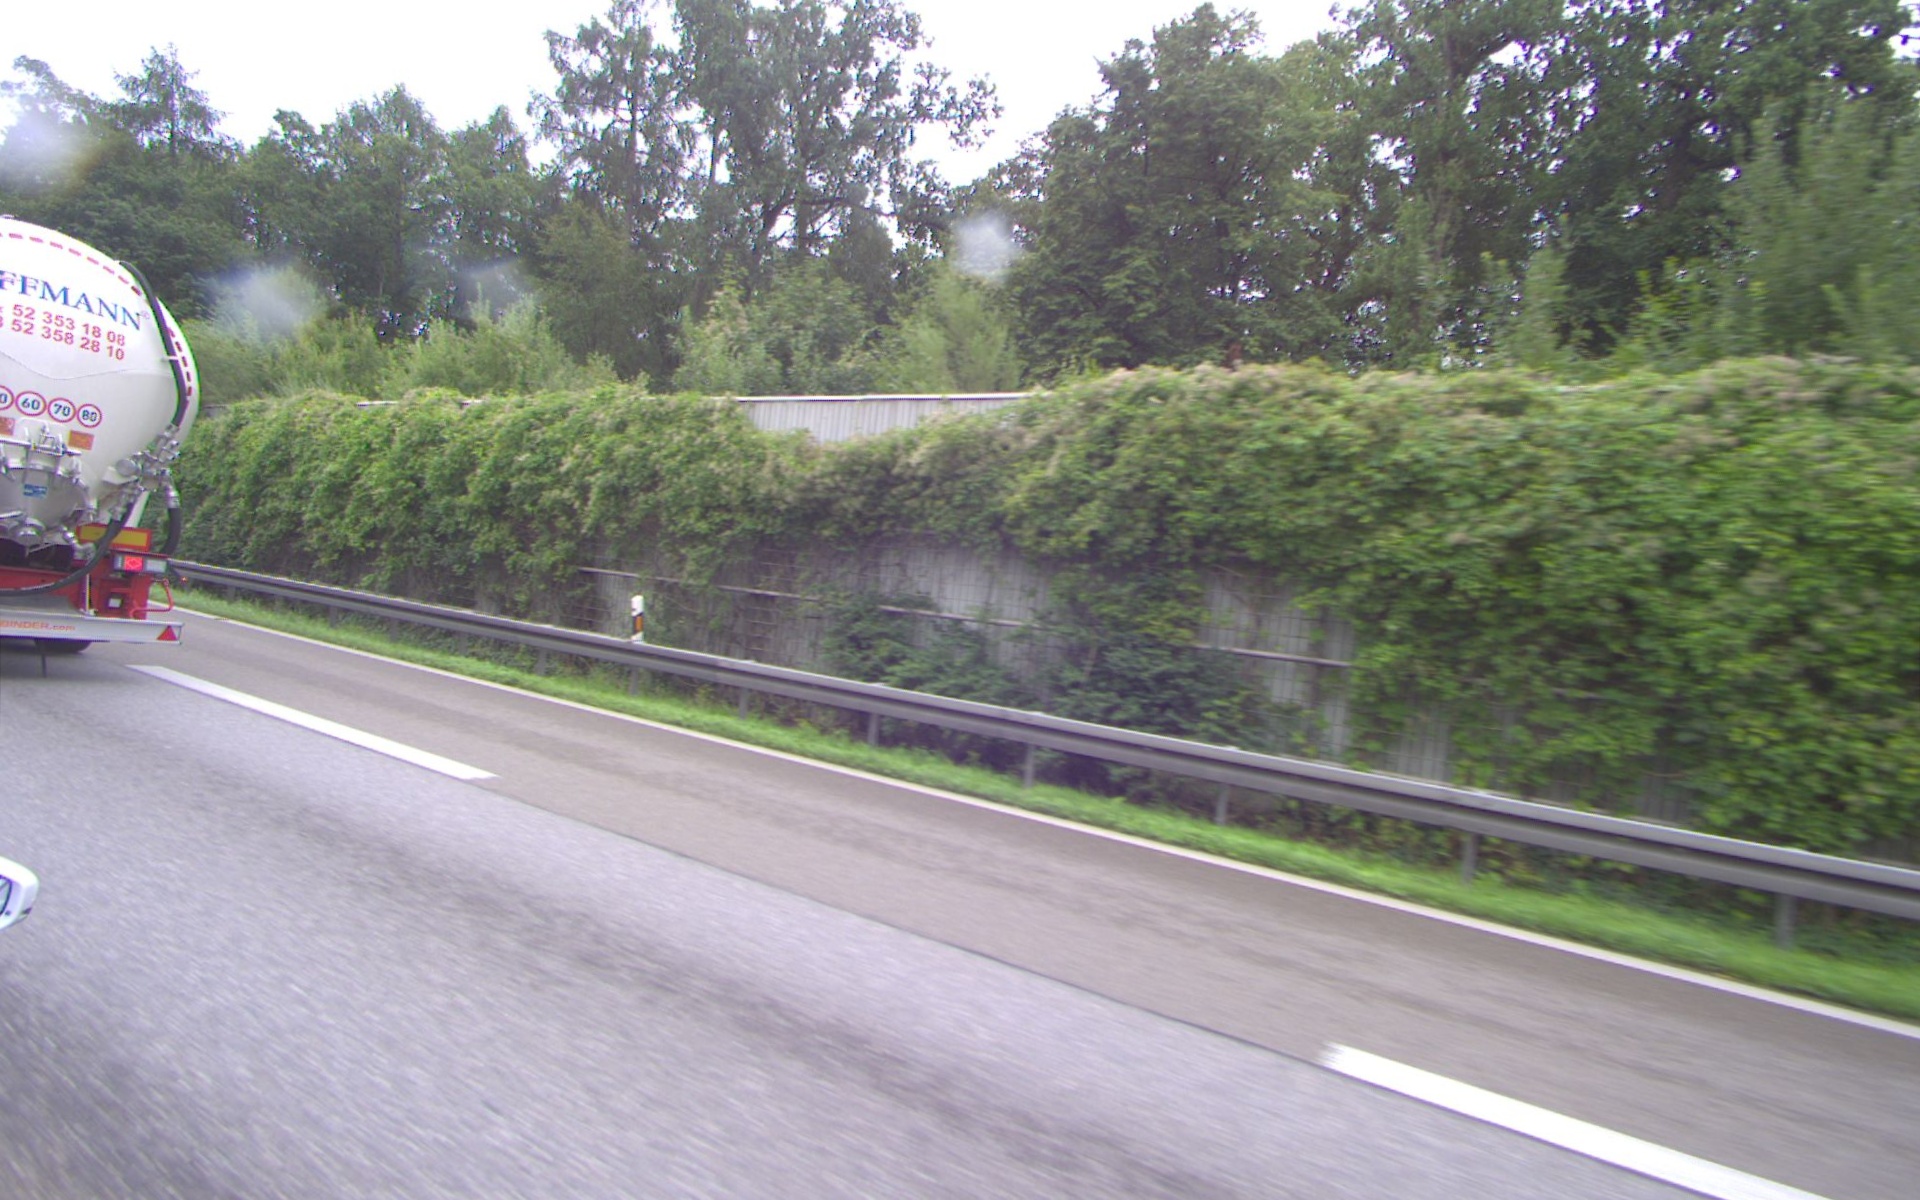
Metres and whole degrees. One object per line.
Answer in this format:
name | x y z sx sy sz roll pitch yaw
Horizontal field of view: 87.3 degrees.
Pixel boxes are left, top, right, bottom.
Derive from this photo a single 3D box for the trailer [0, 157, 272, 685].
trailer | -12.639 -1.896 11.514 12.915 3.986 2.672 6 -1 32
